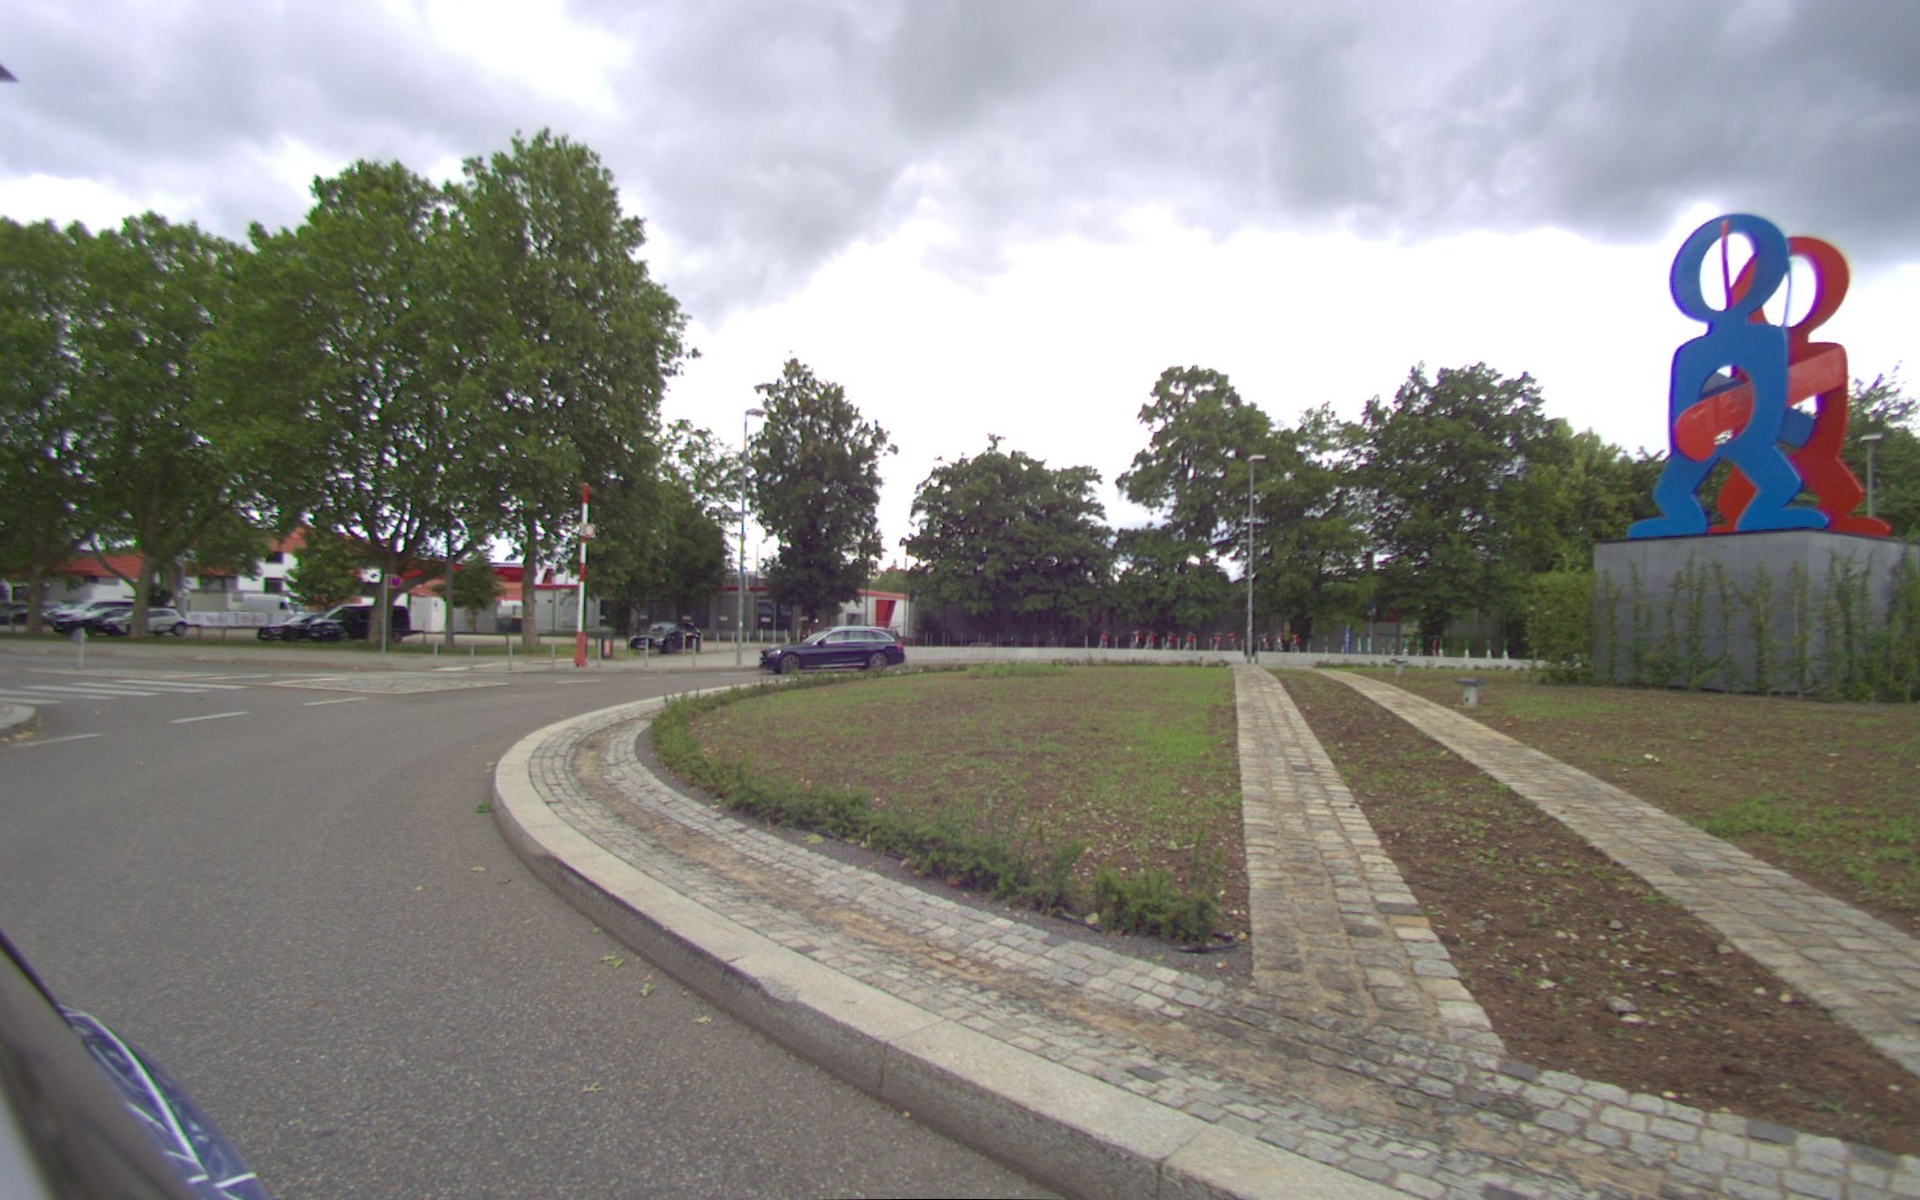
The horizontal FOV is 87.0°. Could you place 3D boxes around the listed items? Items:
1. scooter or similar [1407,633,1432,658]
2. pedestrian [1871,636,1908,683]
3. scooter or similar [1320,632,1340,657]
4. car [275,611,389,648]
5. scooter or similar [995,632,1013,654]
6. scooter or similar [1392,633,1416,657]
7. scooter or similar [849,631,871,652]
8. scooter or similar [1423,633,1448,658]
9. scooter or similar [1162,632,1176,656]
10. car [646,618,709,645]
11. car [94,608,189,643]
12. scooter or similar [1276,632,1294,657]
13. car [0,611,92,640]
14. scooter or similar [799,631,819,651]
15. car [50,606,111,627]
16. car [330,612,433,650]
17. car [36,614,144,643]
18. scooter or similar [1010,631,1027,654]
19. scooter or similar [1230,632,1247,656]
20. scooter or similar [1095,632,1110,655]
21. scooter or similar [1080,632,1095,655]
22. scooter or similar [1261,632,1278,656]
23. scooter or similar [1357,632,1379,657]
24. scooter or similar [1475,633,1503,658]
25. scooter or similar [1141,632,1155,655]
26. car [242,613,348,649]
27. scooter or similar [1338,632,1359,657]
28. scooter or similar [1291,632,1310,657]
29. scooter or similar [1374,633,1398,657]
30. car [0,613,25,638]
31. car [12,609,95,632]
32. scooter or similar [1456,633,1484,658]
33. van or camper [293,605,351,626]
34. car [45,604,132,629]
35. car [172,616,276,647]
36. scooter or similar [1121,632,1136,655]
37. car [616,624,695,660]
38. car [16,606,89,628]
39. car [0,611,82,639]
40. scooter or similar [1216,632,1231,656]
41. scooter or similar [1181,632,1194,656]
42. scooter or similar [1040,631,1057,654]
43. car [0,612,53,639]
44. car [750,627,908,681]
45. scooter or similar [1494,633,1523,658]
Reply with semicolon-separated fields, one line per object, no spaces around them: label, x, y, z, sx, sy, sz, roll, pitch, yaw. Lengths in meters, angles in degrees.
scooter or similar;21.510;2.103;47.396;0.634;1.117;1.968;0;-1;12
pedestrian;36.898;2.342;40.168;0.861;1.821;0.786;-1;-1;26
scooter or similar;17.637;2.117;48.300;0.634;1.117;1.968;0;-1;12
car;-30.816;1.439;49.848;1.992;1.741;4.791;0;-1;13
scooter or similar;2.349;2.237;53.353;0.634;1.117;1.968;0;-1;12
scooter or similar;20.822;2.101;47.540;0.634;1.117;1.968;0;-1;12
scooter or similar;-5.536;2.283;56.025;0.634;1.117;1.968;0;-1;12
scooter or similar;22.190;2.100;47.251;0.634;1.117;1.968;0;-1;12
scooter or similar;10.361;2.157;50.122;0.634;1.117;1.968;0;-1;12
car;-17.650;1.936;63.145;4.438;1.664;1.771;-1;-2;44
car;-44.285;1.364;54.849;1.659;1.791;3.684;-1;-1;22
scooter or similar;15.648;2.131;48.786;0.634;1.117;1.968;0;-1;12
car;-50.499;1.377;55.534;1.859;1.530;3.977;-1;-1;22
scooter or similar;-8.553;2.308;57.456;0.540;1.103;1.802;0;-1;12
car;-72.108;1.359;82.988;3.917;1.733;1.789;0;-1;13
car;-28.046;1.489;49.207;1.992;1.741;4.273;0;-1;13
car;-46.535;1.504;54.219;1.859;1.530;3.978;-1;-1;22
scooter or similar;3.080;2.222;53.183;0.634;1.117;1.968;0;-1;12
scooter or similar;13.556;2.139;49.277;0.634;1.117;1.968;0;-1;12
scooter or similar;7.230;2.186;51.221;0.634;1.117;1.968;0;-1;12
scooter or similar;6.483;2.184;51.403;0.634;1.113;1.968;0;-1;12
scooter or similar;14.960;2.135;48.939;0.634;1.117;1.968;0;-1;12
scooter or similar;19.309;2.109;47.935;0.634;1.117;1.968;0;-1;12
scooter or similar;24.417;2.087;46.766;0.634;1.117;1.968;0;-1;12
scooter or similar;9.376;2.164;50.444;0.634;1.117;1.968;0;-1;12
car;-33.215;1.519;50.721;1.992;1.741;4.273;0;-1;13
scooter or similar;18.467;2.114;48.126;0.634;1.117;1.968;0;-1;12
scooter or similar;16.333;2.128;48.629;0.634;1.117;1.968;0;-1;12
scooter or similar;20.087;2.105;47.743;0.634;1.117;1.968;0;-1;12
car;-59.030;1.544;60.691;1.859;1.530;3.977;-1;-1;22
car;-63.501;1.451;70.961;1.853;1.530;3.989;0;-1;14
scooter or similar;23.641;2.094;46.942;0.634;1.117;1.968;0;-1;12
van or camper;-57.167;1.412;90.669;4.392;1.802;1.789;0;-1;13
car;-60.624;1.162;70.510;1.778;1.664;4.419;0;-1;12
car;-37.773;1.602;52.030;1.859;1.530;3.977;-1;-1;22
scooter or similar;8.436;2.169;50.658;0.634;1.117;1.968;0;-1;12
car;-13.612;1.843;45.461;1.762;1.536;3.809;0;-1;13
car;-70.295;1.307;78.453;1.778;1.664;3.941;0;-1;12
car;-53.174;1.426;57.938;1.859;1.530;3.977;-1;-1;22
scooter or similar;12.857;2.142;49.420;0.634;1.117;1.968;0;-1;12
scooter or similar;11.214;2.153;49.900;0.634;1.117;1.968;0;-1;12
scooter or similar;4.663;2.224;53.113;0.634;1.117;1.968;0;-1;12
car;-56.075;1.479;59.320;1.859;1.530;3.977;-1;-1;22
car;-4.136;1.659;31.950;4.646;1.576;1.802;0;-1;-21
scooter or similar;25.229;2.083;46.568;0.634;1.117;1.968;0;-1;12
